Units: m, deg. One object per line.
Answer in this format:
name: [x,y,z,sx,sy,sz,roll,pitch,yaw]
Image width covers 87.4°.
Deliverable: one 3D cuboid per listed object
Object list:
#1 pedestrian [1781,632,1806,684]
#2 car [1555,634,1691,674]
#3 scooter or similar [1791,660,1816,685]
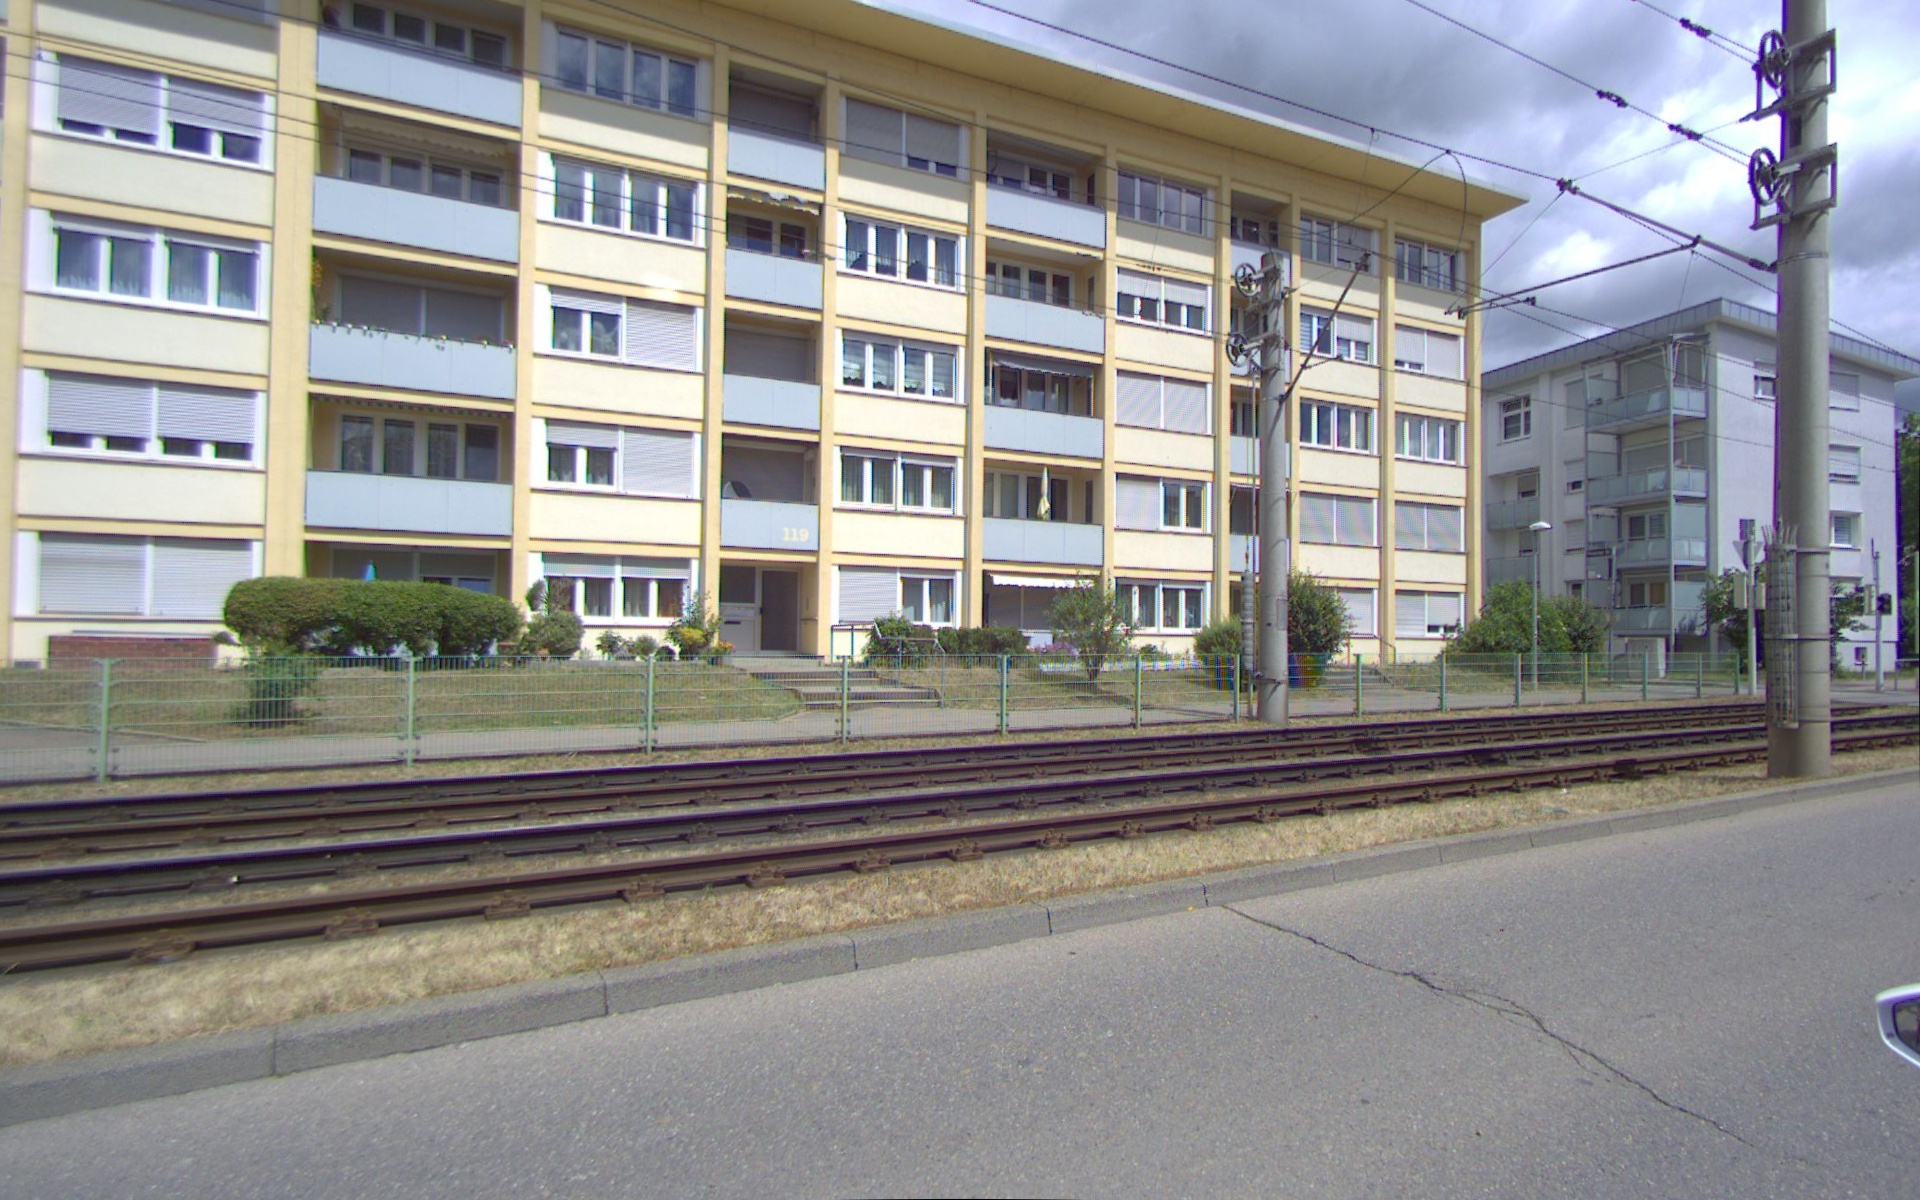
pedestrian: [26.107,1.811,31.458,0.468,1.601,0.436,1,-1,-25]
car: [24.980,2.004,37.994,1.873,1.363,3.980,1,-2,-21]
scooter or similar: [26.027,2.235,30.983,0.468,0.757,0.436,1,-1,-25]
